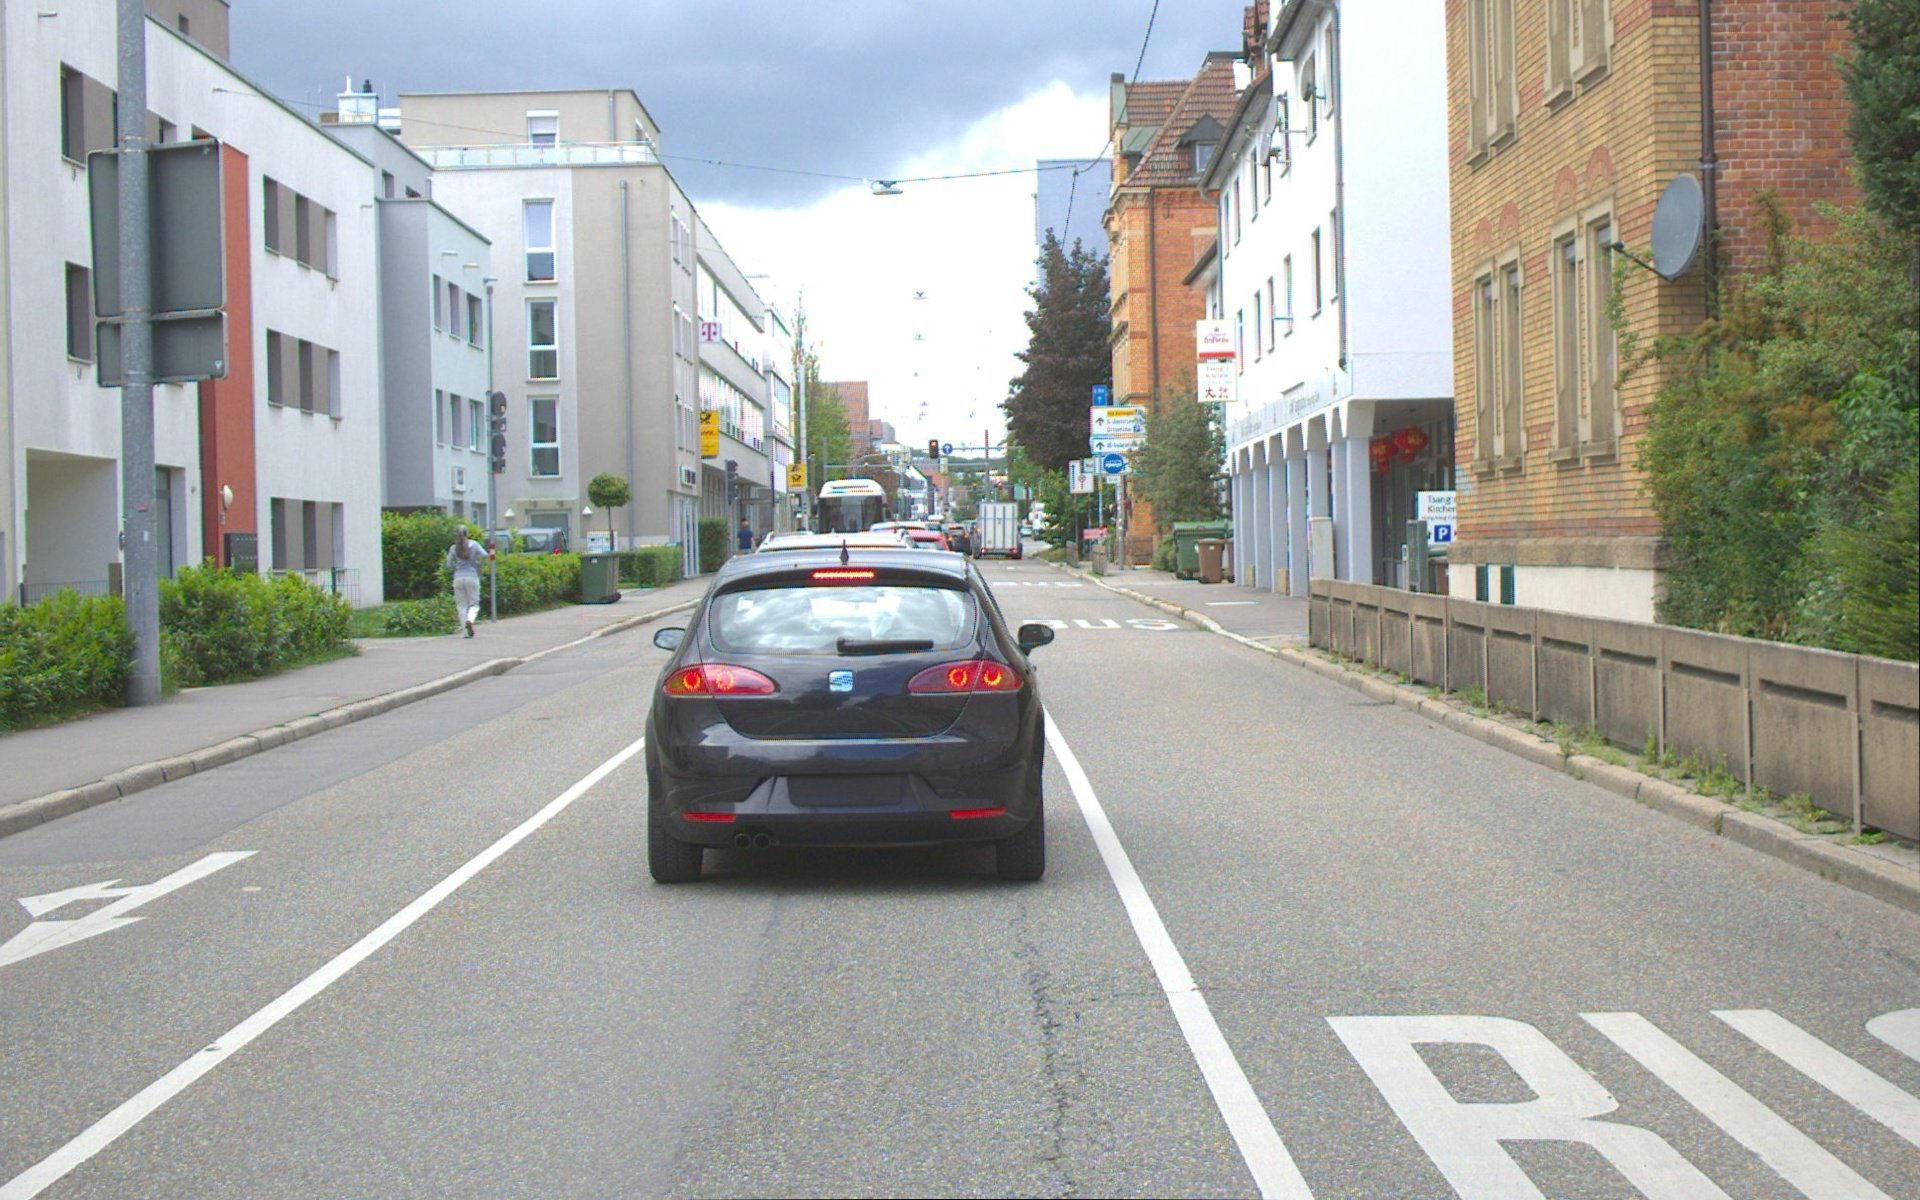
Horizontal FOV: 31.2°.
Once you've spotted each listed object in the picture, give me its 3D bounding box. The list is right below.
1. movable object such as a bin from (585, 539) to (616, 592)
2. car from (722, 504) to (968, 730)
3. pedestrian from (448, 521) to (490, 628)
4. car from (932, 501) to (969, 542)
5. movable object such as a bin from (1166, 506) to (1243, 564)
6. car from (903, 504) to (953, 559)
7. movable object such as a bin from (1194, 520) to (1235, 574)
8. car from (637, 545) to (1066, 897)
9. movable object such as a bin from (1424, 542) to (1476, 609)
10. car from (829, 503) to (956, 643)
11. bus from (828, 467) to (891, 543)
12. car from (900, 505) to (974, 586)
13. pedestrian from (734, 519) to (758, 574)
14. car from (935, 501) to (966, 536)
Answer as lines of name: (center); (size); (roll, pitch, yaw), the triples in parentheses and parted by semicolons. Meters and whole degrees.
movable object such as a bin: (-7.272, -0.695, 69.473); (0.549, 1.075, 0.612); (0, 1, 1)
car: (-0.877, 0.091, 27.717); (1.842, 1.687, 4.000); (0, 1, 0)
pedestrian: (-7.122, -0.375, 49.907); (0.526, 1.542, 0.541); (0, 1, 0)
car: (-0.410, -3.397, 148.530); (1.531, 1.687, 3.693); (-2, 2, 0)
movable object such as a bin: (6.105, -1.634, 86.103); (1.818, 1.432, 1.993); (0, 1, 1)
car: (-0.983, -2.139, 107.152); (1.531, 1.687, 3.693); (0, 1, 0)
movable object such as a bin: (6.058, -1.262, 81.997); (0.928, 1.279, 0.883); (0, 1, 1)
car: (-0.450, 0.465, 16.113); (1.759, 1.437, 4.000); (0, 1, 0)
movable object such as a bin: (6.210, -0.315, 43.579); (0.592, 0.837, 0.458); (0, 1, 0)
car: (-0.828, -0.363, 43.237); (1.531, 1.687, 3.693); (0, 1, 0)
bus: (-3.916, -3.708, 135.115); (2.210, 2.876, 8.920); (0, 1, 0)
car: (-0.497, -1.166, 73.499); (1.531, 1.687, 3.693); (0, 1, 0)
pedestrian: (-6.662, -1.672, 107.052); (0.730, 1.723, 0.859); (0, 1, -1)
car: (-0.500, -4.161, 175.186); (1.531, 1.687, 3.693); (-1, 2, 0)
